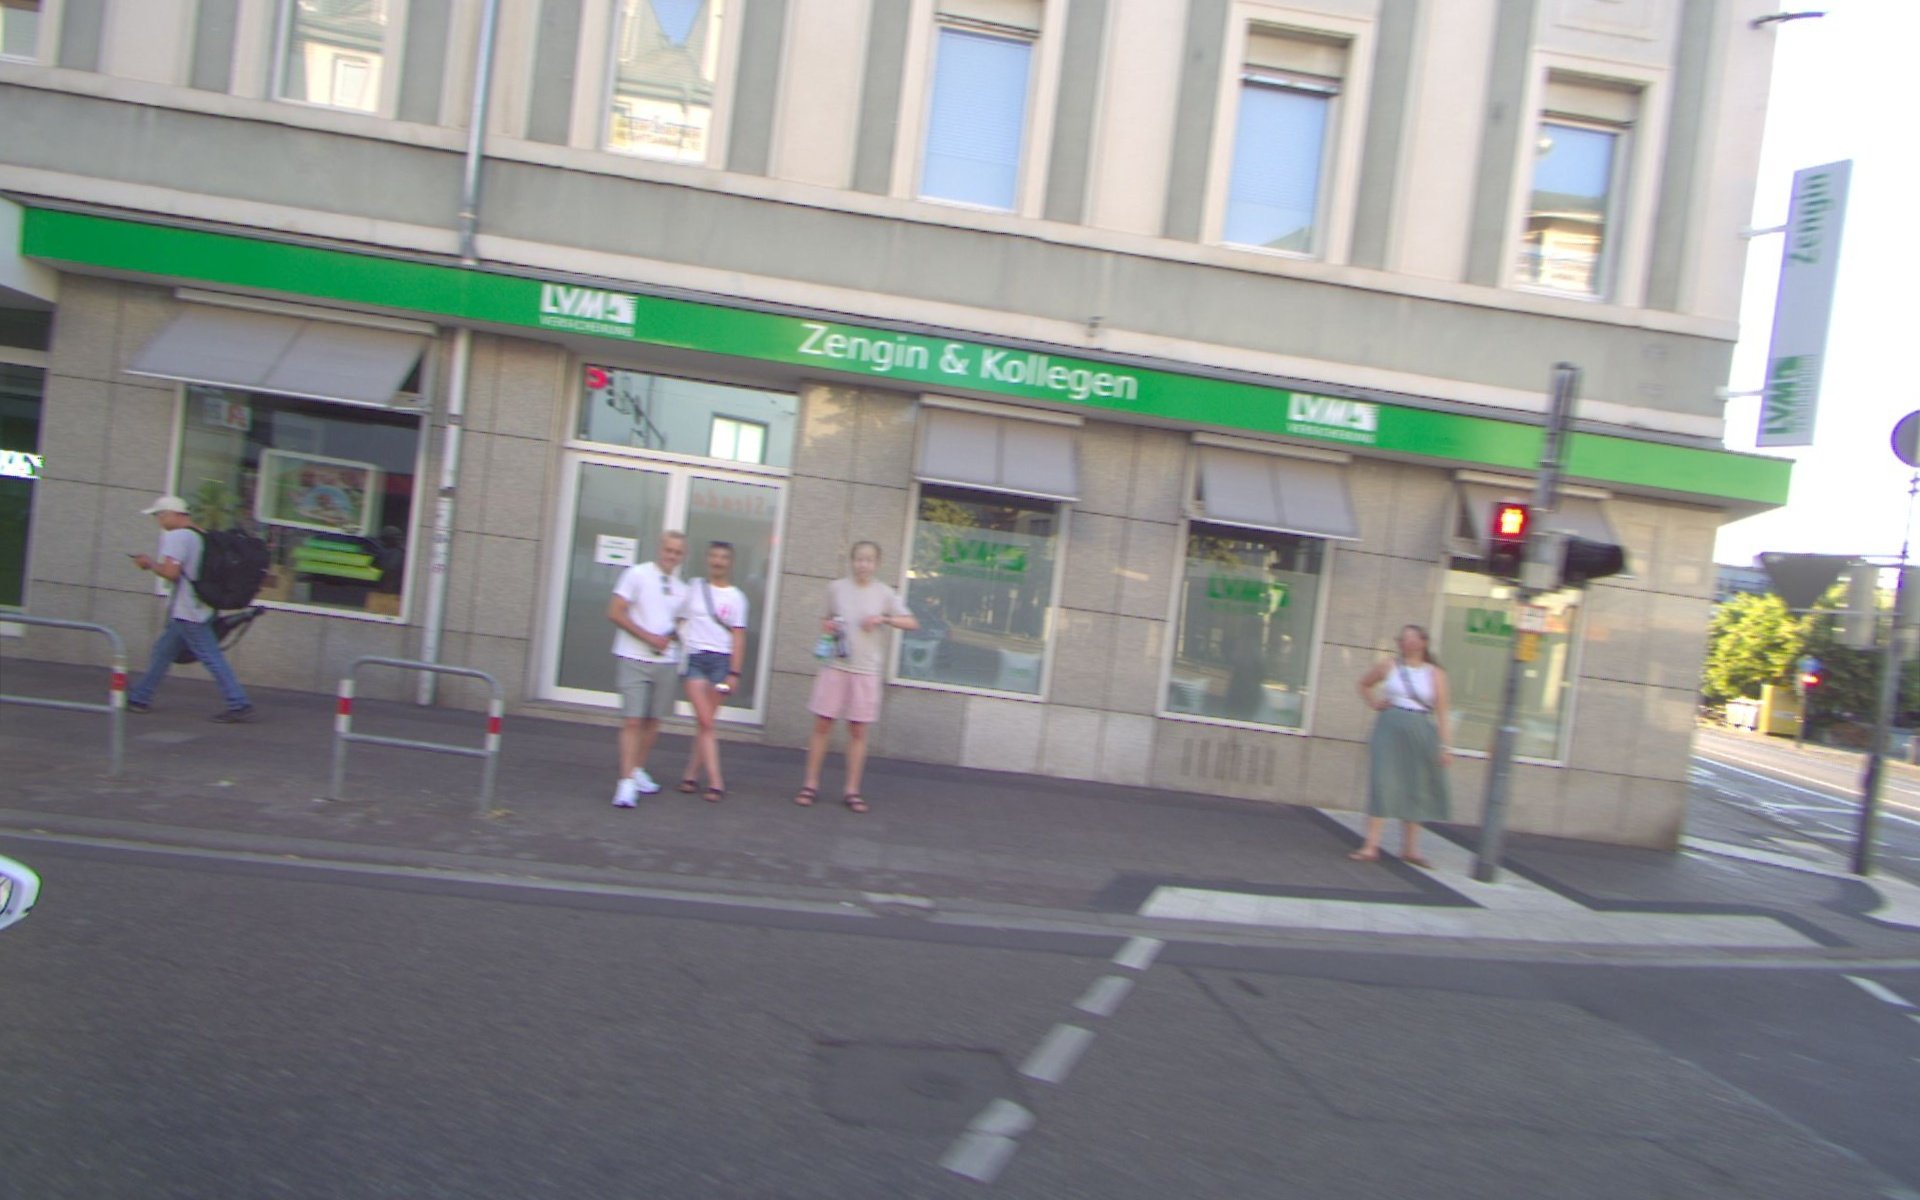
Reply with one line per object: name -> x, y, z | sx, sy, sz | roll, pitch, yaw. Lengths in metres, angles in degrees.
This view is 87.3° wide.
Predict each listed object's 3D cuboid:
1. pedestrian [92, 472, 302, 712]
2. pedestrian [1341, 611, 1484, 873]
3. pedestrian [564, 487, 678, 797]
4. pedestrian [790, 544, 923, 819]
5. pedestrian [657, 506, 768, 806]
pedestrian -> -5.495, -0.053, 7.295 | 0.854, 1.568, 0.699 | 7, 1, -1
pedestrian -> 3.365, 1.023, 7.547 | 0.659, 1.801, 0.647 | 7, 1, 12
pedestrian -> -2.253, 0.275, 6.732 | 0.488, 1.953, 0.574 | 6, 2, -14
pedestrian -> -0.702, 0.544, 7.014 | 0.686, 1.767, 0.639 | 6, 1, -1
pedestrian -> -1.715, 0.375, 6.966 | 0.521, 1.953, 0.638 | 6, 2, -15
